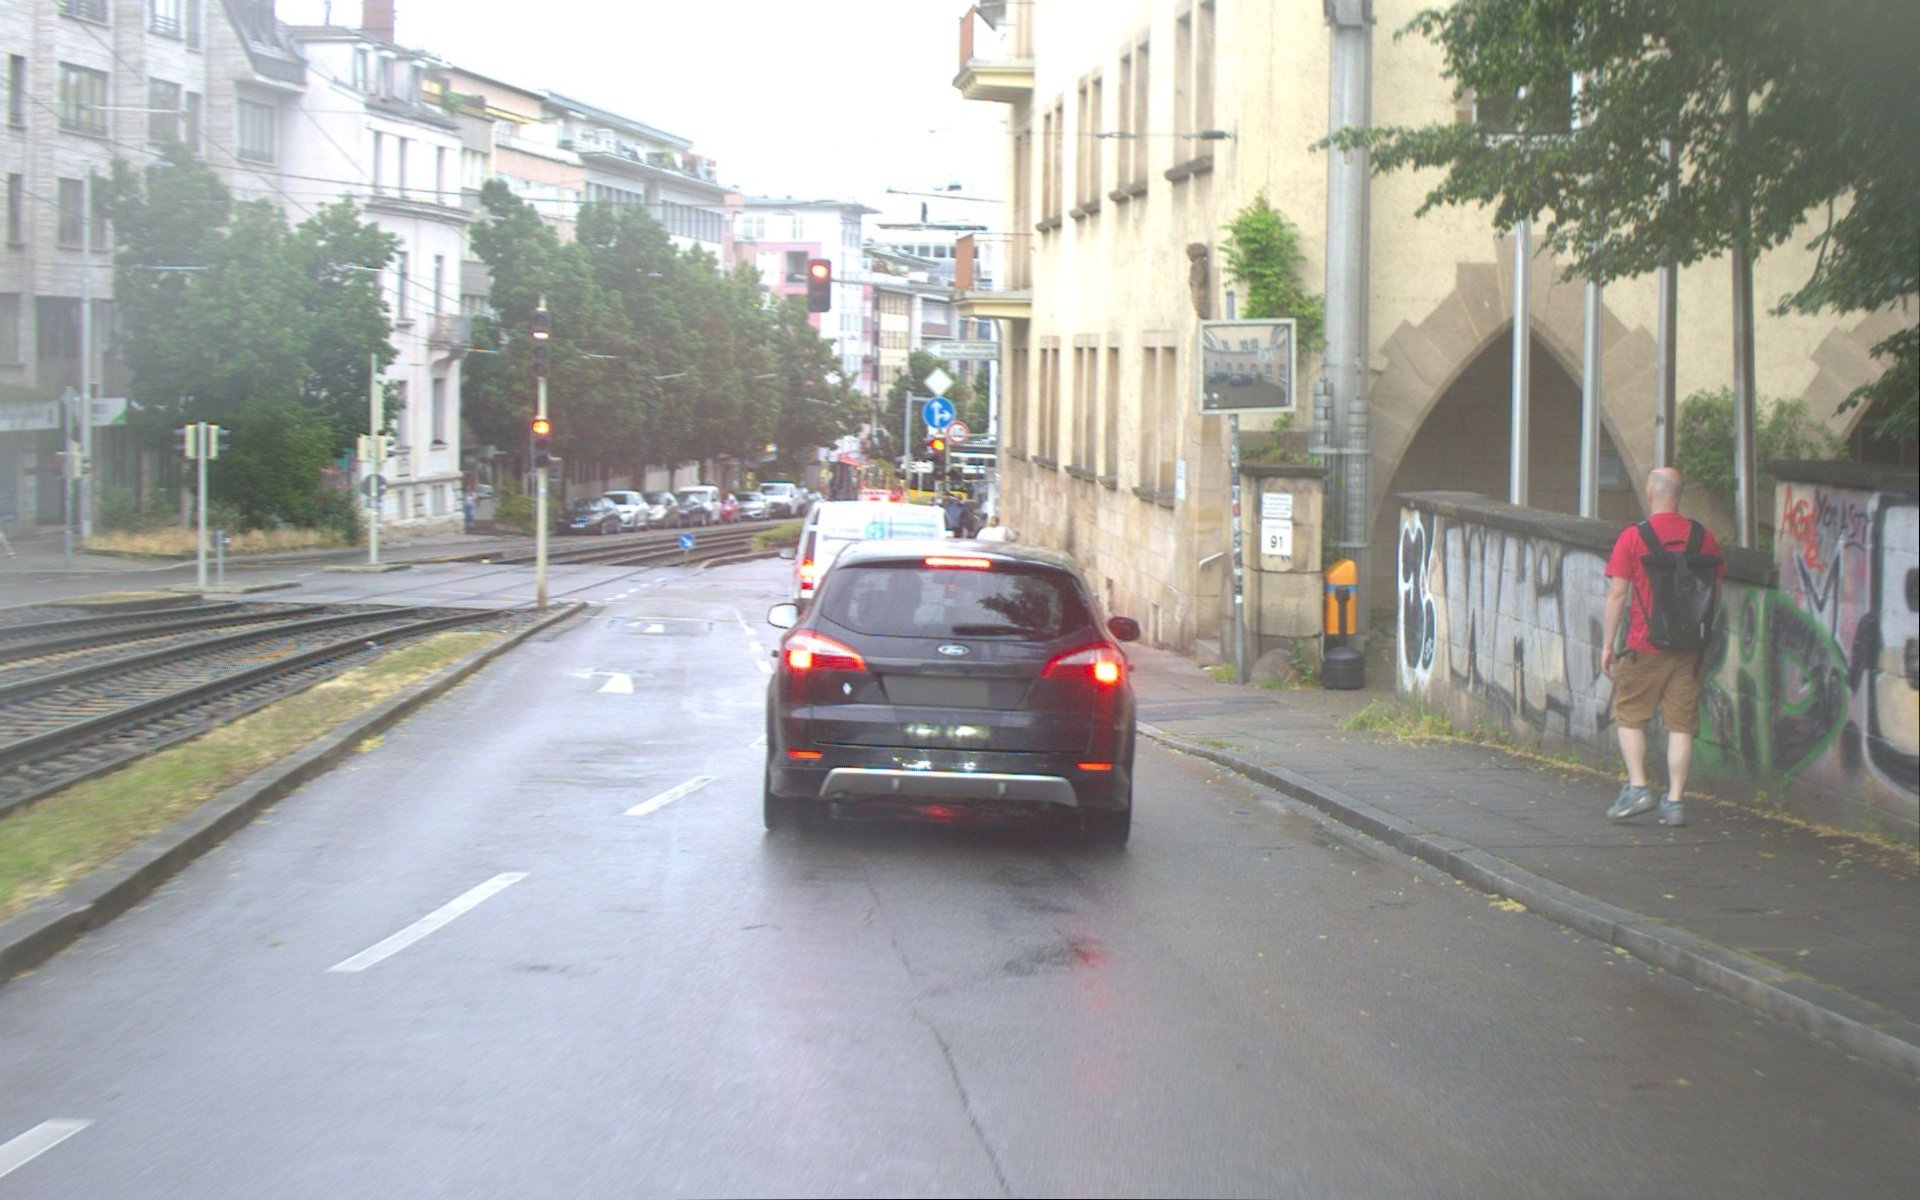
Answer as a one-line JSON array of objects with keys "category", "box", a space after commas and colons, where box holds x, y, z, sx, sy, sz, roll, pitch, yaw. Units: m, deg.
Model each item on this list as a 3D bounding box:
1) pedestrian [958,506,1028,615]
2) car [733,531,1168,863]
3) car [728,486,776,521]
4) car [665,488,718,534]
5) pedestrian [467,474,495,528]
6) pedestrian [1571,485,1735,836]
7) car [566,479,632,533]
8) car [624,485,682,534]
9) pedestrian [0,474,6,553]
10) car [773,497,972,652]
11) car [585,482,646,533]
[{"category": "pedestrian", "box": [0.550, -0.659, 57.232, 1.045, 1.789, 0.902, 1, 1, -6]}, {"category": "car", "box": [-0.172, 0.423, 17.906, 1.920, 1.474, 4.001, 2, 1, -5]}, {"category": "car", "box": [-10.183, -4.733, 168.548, 1.993, 1.656, 4.000, 1, 1, 1]}, {"category": "car", "box": [-12.114, -4.030, 155.433, 1.993, 2.007, 4.000, 1, 1, 1]}, {"category": "pedestrian", "box": [-17.964, -3.707, 128.939, 0.941, 2.007, 0.765, 1, 1, -13]}, {"category": "pedestrian", "box": [3.457, 0.292, 17.190, 0.632, 1.715, 0.711, 0, 1, -3]}, {"category": "car", "box": [-13.823, -3.612, 131.820, 1.993, 2.007, 4.000, 1, 1, 1]}, {"category": "car", "box": [-12.872, -3.812, 144.492, 1.993, 2.007, 4.000, 1, 1, 1]}, {"category": "pedestrian", "box": [-23.894, -2.130, 84.162, 0.904, 1.925, 0.825, 1, 1, -7]}, {"category": "car", "box": [-0.985, -0.353, 40.966, 2.137, 1.739, 4.218, 0, 2, 2]}, {"category": "car", "box": [-13.824, -3.717, 138.126, 1.993, 2.007, 4.000, 1, 1, 1]}]
